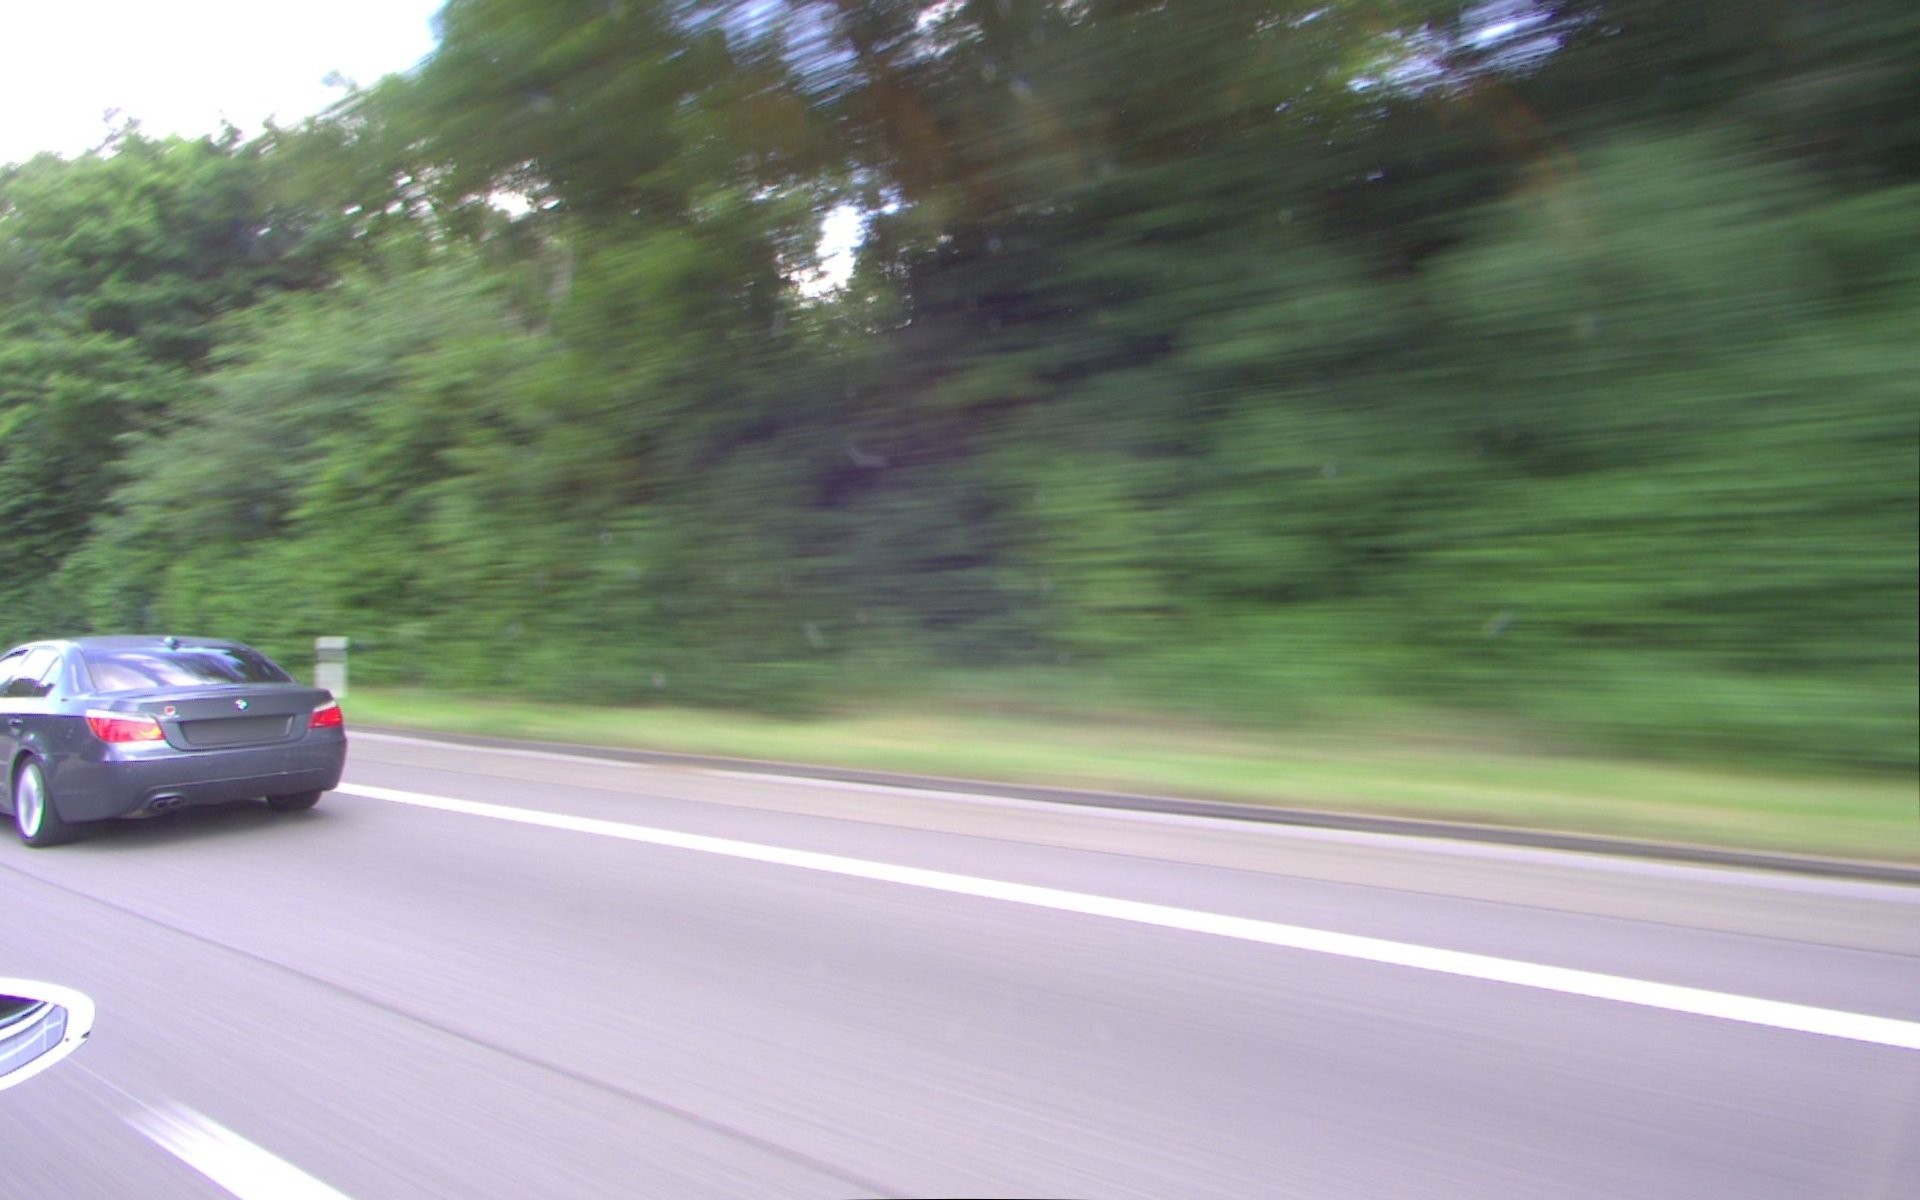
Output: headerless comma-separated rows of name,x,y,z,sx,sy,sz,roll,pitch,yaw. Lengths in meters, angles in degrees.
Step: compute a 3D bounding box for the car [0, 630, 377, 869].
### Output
car,-7.050,1.003,8.347,4.810,1.494,1.771,-1,-2,32
